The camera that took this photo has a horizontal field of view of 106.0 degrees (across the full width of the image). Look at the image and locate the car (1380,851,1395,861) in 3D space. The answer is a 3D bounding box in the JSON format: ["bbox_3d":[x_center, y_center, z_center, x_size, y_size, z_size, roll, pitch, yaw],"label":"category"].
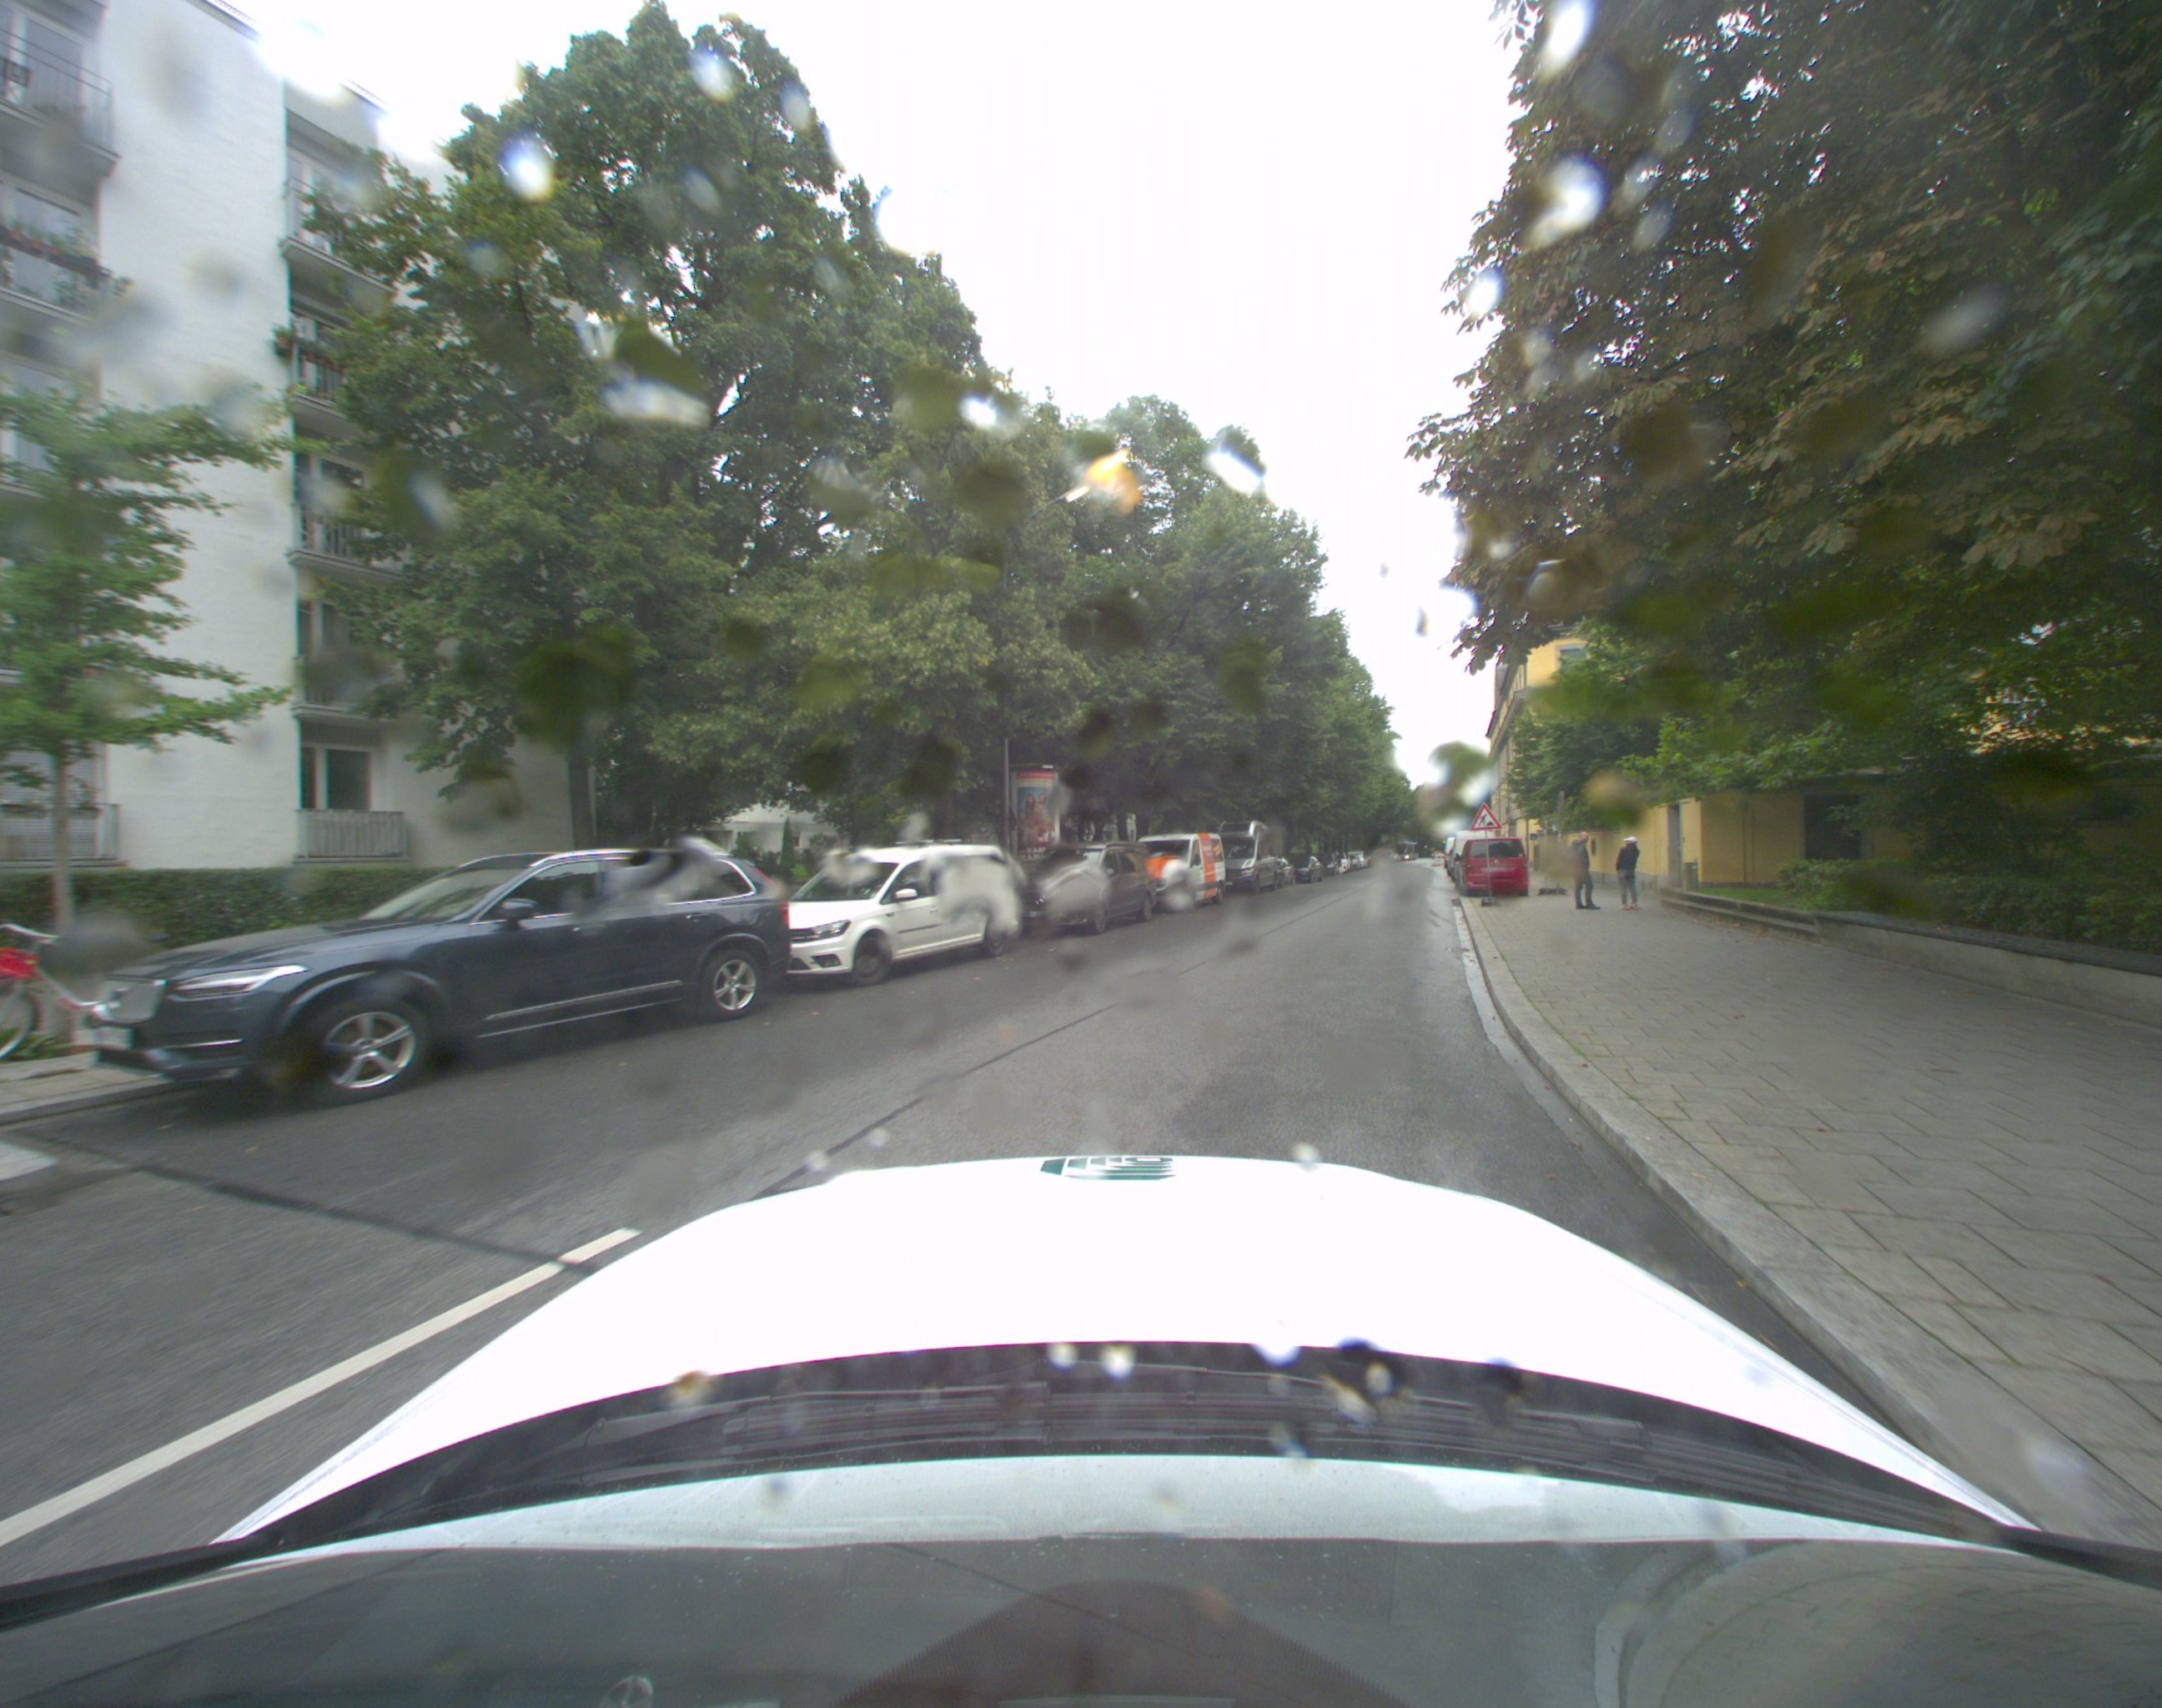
[{"bbox_3d":[43.717,0.279,116.069,1.976,1.420,4.021,-1,0,21],"label":"car"}]

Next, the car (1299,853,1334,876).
[{"bbox_3d":[16.315,0.698,56.231,1.976,1.487,4.151,-1,0,21],"label":"car"}]

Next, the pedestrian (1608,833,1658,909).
[{"bbox_3d":[12.432,0.373,18.372,0.631,1.667,0.697,-1,0,2],"label":"pedestrian"}]

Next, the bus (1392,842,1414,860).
[{"bbox_3d":[52.940,-0.487,134.058,2.914,2.919,8.279,-1,0,18],"label":"bus"}]

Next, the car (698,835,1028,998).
[{"bbox_3d":[-2.887,0.731,12.154,2.065,1.903,4.886,-1,0,25],"label":"car"}]

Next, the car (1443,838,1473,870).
[{"bbox_3d":[32.775,-0.013,70.950,1.824,2.622,4.405,-1,0,18],"label":"car"}]

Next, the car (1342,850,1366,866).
[{"bbox_3d":[25.806,0.354,76.809,1.976,1.420,4.021,-1,0,21],"label":"car"}]

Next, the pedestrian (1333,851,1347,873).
[{"bbox_3d":[18.617,0.577,58.506,0.877,1.598,0.827,-1,0,16],"label":"pedestrian"}]

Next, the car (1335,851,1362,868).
[{"bbox_3d":[23.423,0.427,71.259,1.976,1.420,4.021,-1,0,21],"label":"car"}]

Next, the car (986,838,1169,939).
[{"bbox_3d":[0.173,0.672,18.395,2.008,1.908,5.698,-3,-1,22],"label":"car"}]

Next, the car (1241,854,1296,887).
[{"bbox_3d":[8.910,0.745,38.505,1.976,1.420,4.021,-1,0,21],"label":"car"}]

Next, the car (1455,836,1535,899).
[{"bbox_3d":[13.768,0.411,27.339,1.895,1.937,4.995,-1,0,22],"label":"car"}]

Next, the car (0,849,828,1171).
[{"bbox_3d":[-4.965,0.841,7.205,2.064,1.719,5.336,-1,0,26],"label":"car"}]

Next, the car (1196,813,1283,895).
[{"bbox_3d":[6.594,-0.007,33.263,2.153,3.002,6.268,-1,0,23],"label":"car"}]

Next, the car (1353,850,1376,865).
[{"bbox_3d":[28.411,0.343,81.574,1.976,1.420,4.021,-1,0,21],"label":"car"}]

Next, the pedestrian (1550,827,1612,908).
[{"bbox_3d":[11.733,0.308,19.142,0.818,1.836,0.951,-1,0,-3],"label":"pedestrian"}]

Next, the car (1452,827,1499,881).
[{"bbox_3d":[20.174,-0.017,41.832,1.975,2.558,5.461,-1,0,24],"label":"car"}]

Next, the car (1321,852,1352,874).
[{"bbox_3d":[19.507,0.681,62.046,1.976,1.620,4.151,-1,0,21],"label":"car"}]

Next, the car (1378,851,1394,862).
[{"bbox_3d":[41.645,0.282,111.183,1.976,1.420,4.021,-1,0,21],"label":"car"}]

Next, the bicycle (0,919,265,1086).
[{"bbox_3d":[-8.068,1.150,6.678,0.746,1.085,1.791,-1,0,14],"label":"bicycle"}]

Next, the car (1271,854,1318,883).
[{"bbox_3d":[11.436,0.730,43.499,1.976,1.420,4.151,-1,0,21],"label":"car"}]

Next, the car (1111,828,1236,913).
[{"bbox_3d":[3.012,0.455,25.074,2.065,2.265,5.634,-3,-1,24],"label":"car"}]
